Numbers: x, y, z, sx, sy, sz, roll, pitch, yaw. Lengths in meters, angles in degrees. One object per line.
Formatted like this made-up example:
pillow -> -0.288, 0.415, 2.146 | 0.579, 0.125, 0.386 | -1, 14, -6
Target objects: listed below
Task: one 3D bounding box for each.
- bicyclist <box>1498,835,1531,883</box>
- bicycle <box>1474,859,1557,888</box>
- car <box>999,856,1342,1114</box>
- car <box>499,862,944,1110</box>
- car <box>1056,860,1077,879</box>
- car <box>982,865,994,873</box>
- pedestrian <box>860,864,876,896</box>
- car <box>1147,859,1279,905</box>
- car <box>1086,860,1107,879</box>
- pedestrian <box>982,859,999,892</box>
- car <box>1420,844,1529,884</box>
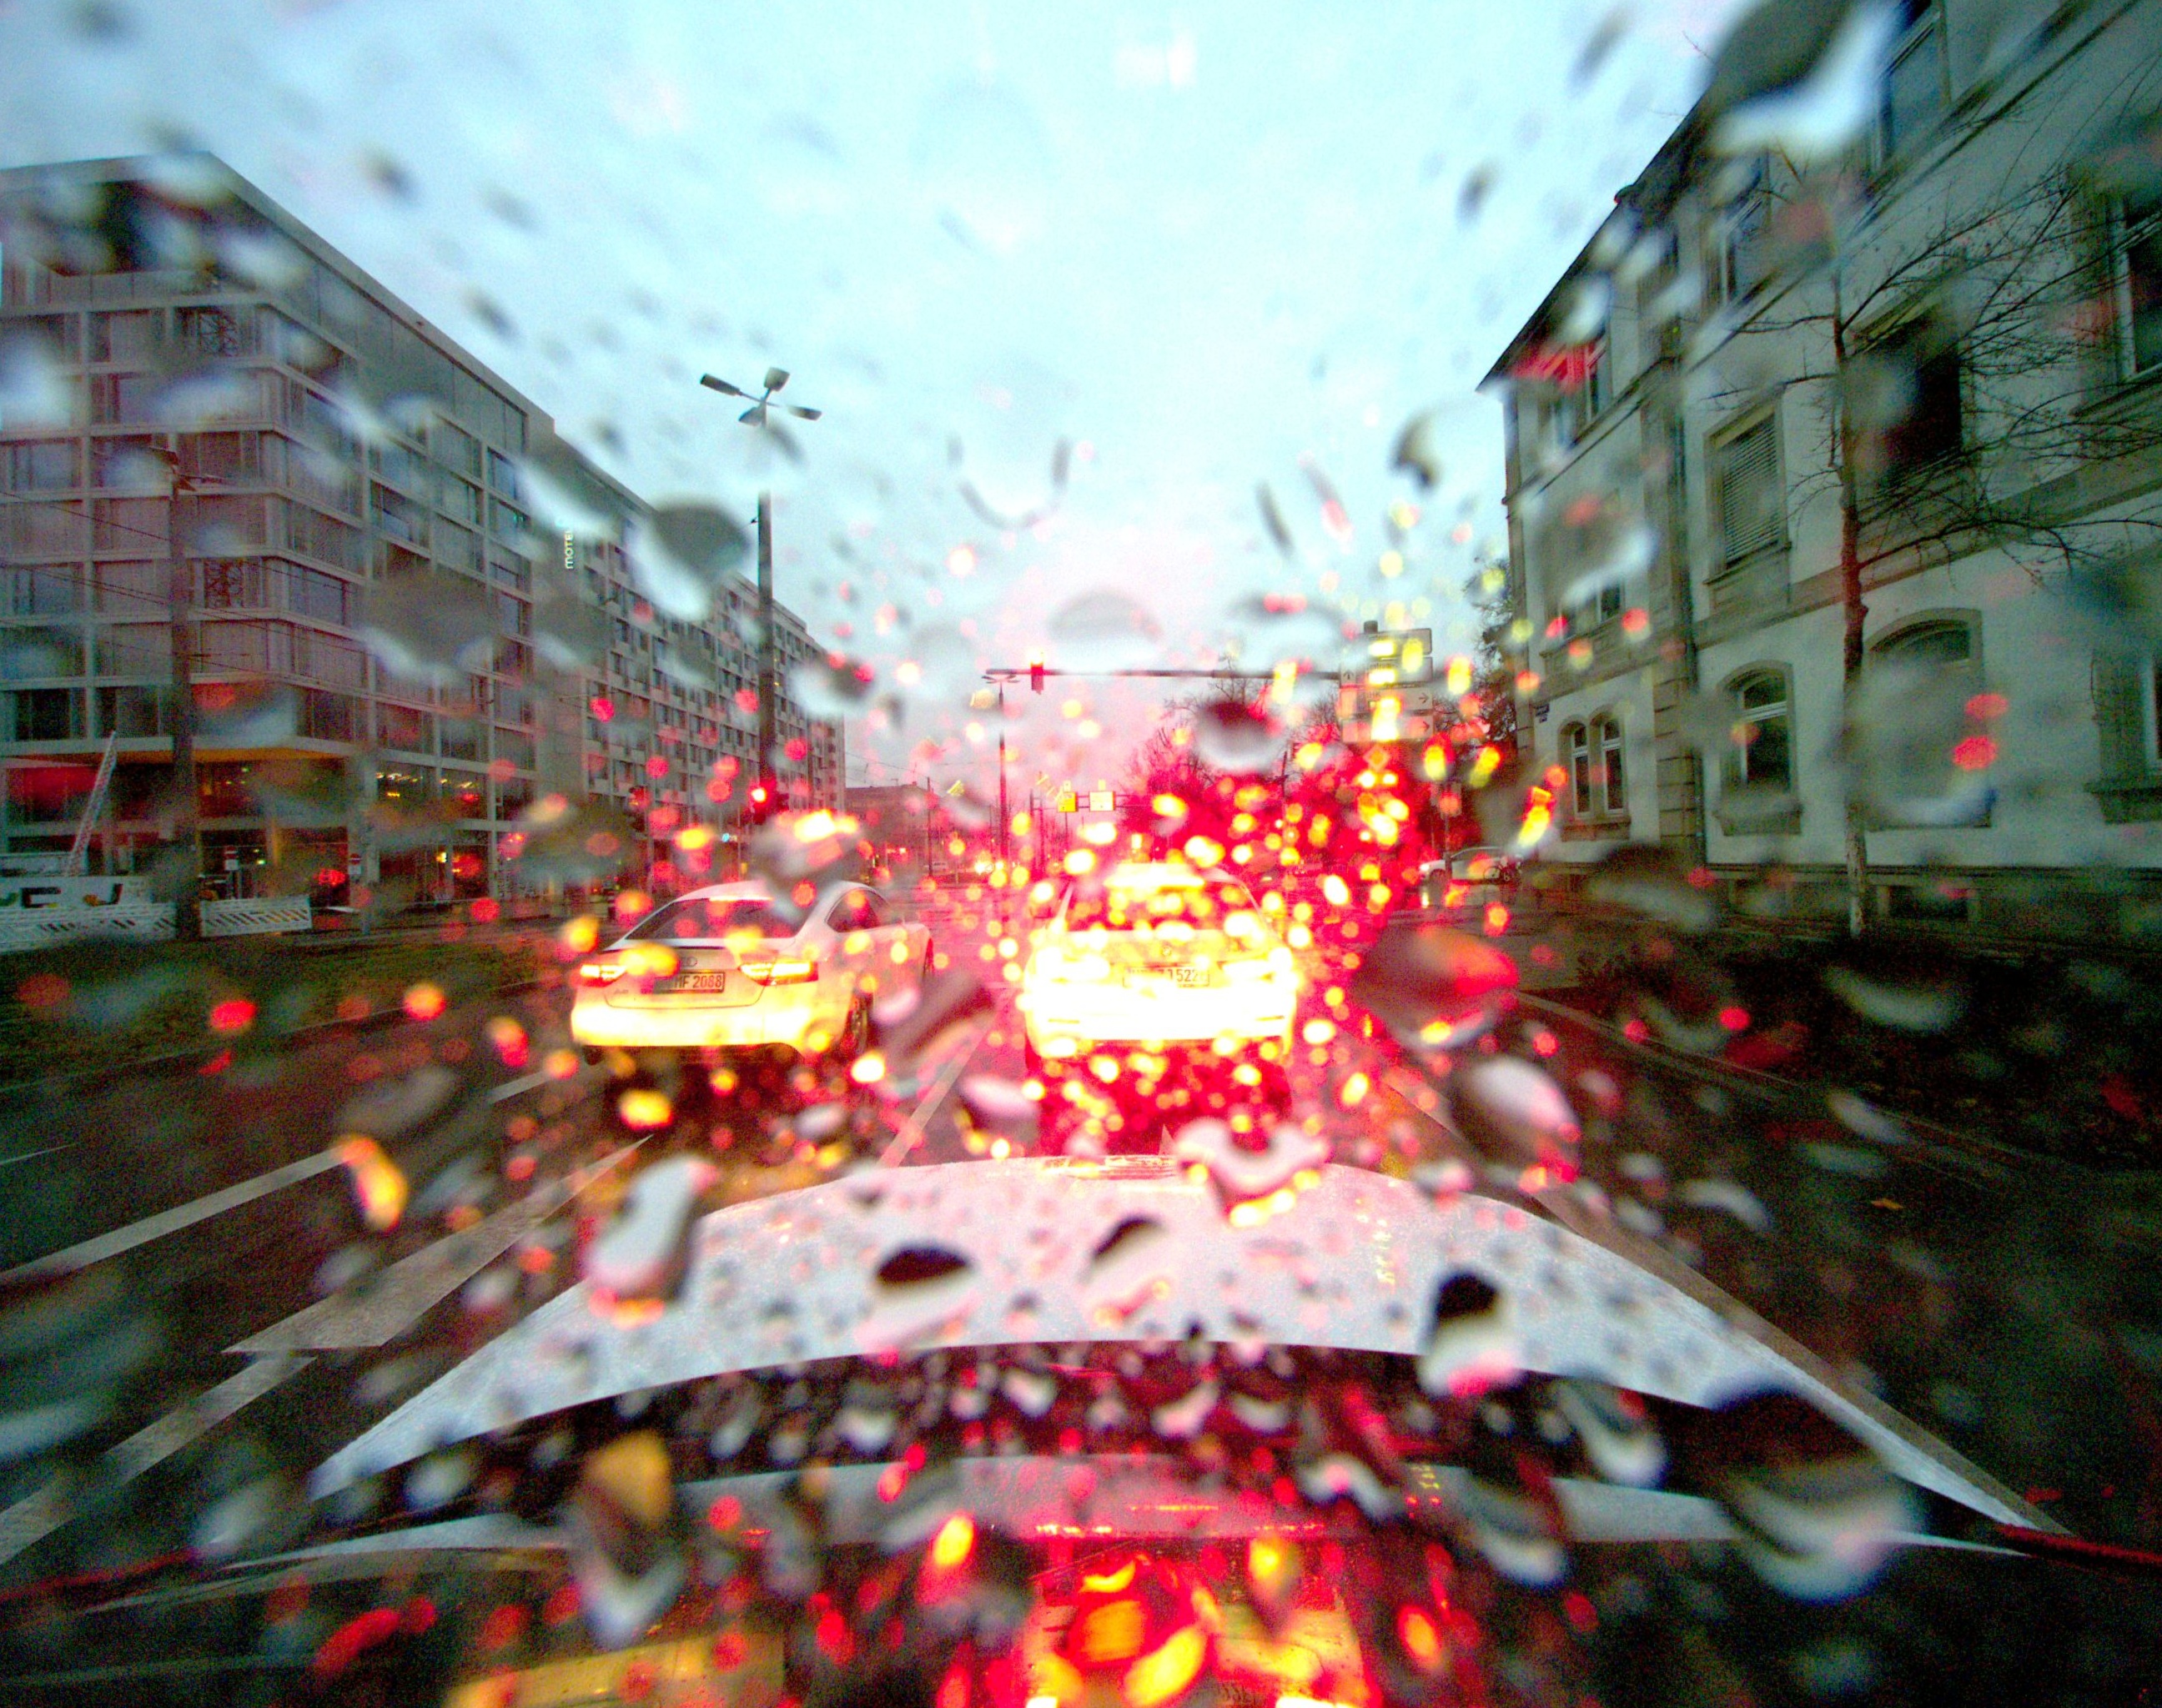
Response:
bicyclist -> 16.307, 0.186, 30.652 | 0.964, 1.759, 0.817 | 0, -1, 21
bicycle -> 16.308, 0.730, 30.635 | 2.644, 1.089, 0.819 | 0, -1, 20
car -> 0.526, 0.769, 6.947 | 1.987, 1.456, 4.367 | -1, 0, 0
car -> -2.596, 0.839, 7.239 | 1.987, 1.456, 4.367 | -1, 0, 0
car -> -1.291, 1.374, 71.753 | 1.838, 1.609, 3.942 | 0, -1, -2
car -> -17.269, 2.711, 150.842 | 1.669, 1.508, 3.697 | 0, -1, 1
pedestrian -> -11.722, 1.429, 44.790 | 0.791, 1.712, 0.809 | 0, -1, -13
car -> 4.615, 0.950, 28.495 | 4.275, 1.530, 1.772 | 0, -1, 22
car -> 1.397, 1.383, 72.537 | 1.836, 1.609, 3.945 | 0, -1, 1
pedestrian -> -5.202, 1.238, 46.907 | 0.904, 1.856, 0.809 | 0, -1, -13
car -> 15.998, 0.418, 33.273 | 3.919, 1.554, 1.759 | 0, -1, 24
